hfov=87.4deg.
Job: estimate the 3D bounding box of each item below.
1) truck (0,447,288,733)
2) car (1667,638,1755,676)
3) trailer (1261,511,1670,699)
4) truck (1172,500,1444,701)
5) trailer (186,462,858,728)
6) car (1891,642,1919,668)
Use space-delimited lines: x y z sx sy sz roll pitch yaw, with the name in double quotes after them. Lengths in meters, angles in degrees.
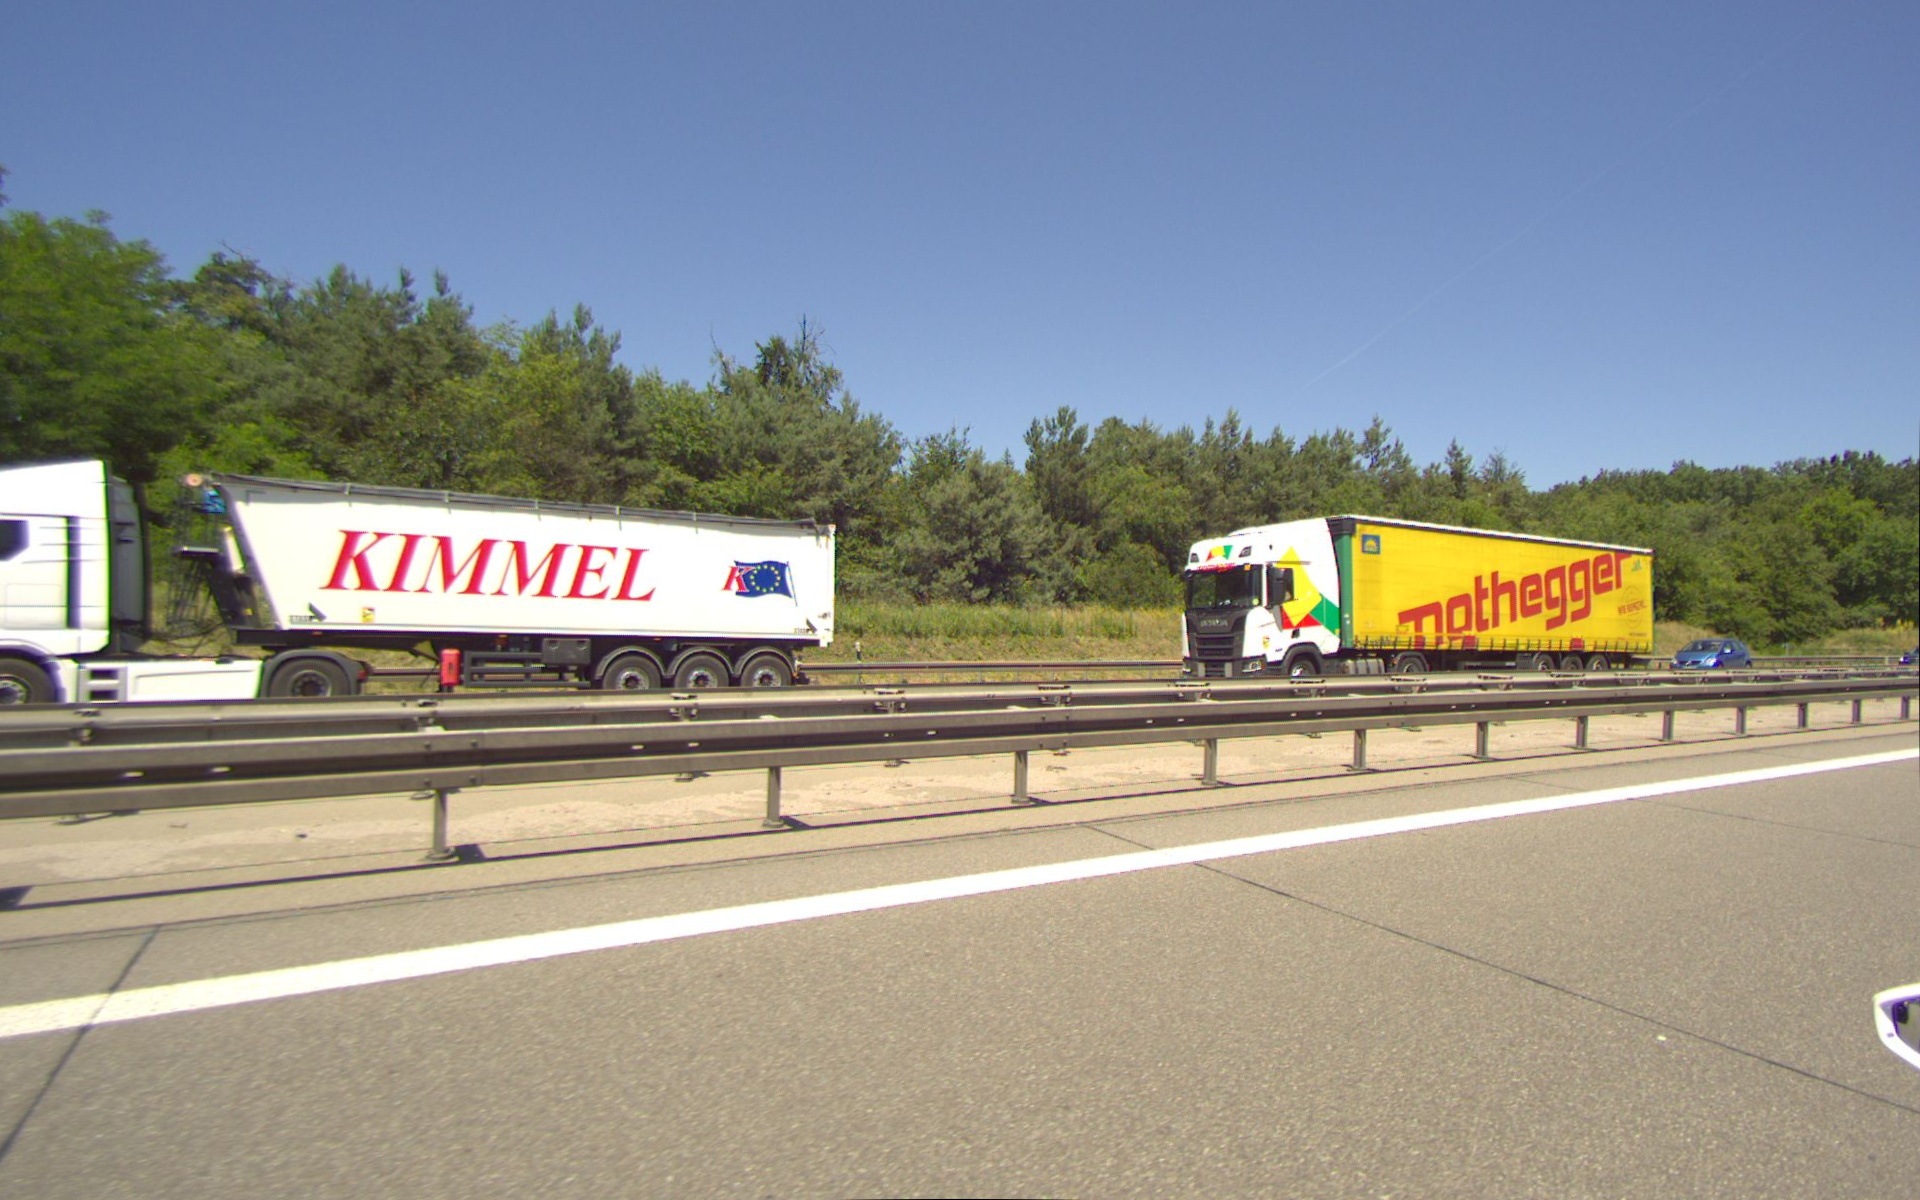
-14.097 -0.079 15.084 6.407 3.999 2.613 1 -4 -31 "truck"
31.881 2.415 42.624 4.063 1.560 1.517 1 -4 -31 "car"
13.971 0.321 26.747 14.113 4.125 2.452 1 -4 -31 "trailer"
8.107 0.143 23.247 6.214 4.125 2.453 1 -4 -31 "truck"
-7.490 0.109 19.055 11.028 3.999 2.613 1 -4 -31 "trailer"
53.526 3.028 55.543 4.833 1.383 1.668 1 -4 -31 "car"
